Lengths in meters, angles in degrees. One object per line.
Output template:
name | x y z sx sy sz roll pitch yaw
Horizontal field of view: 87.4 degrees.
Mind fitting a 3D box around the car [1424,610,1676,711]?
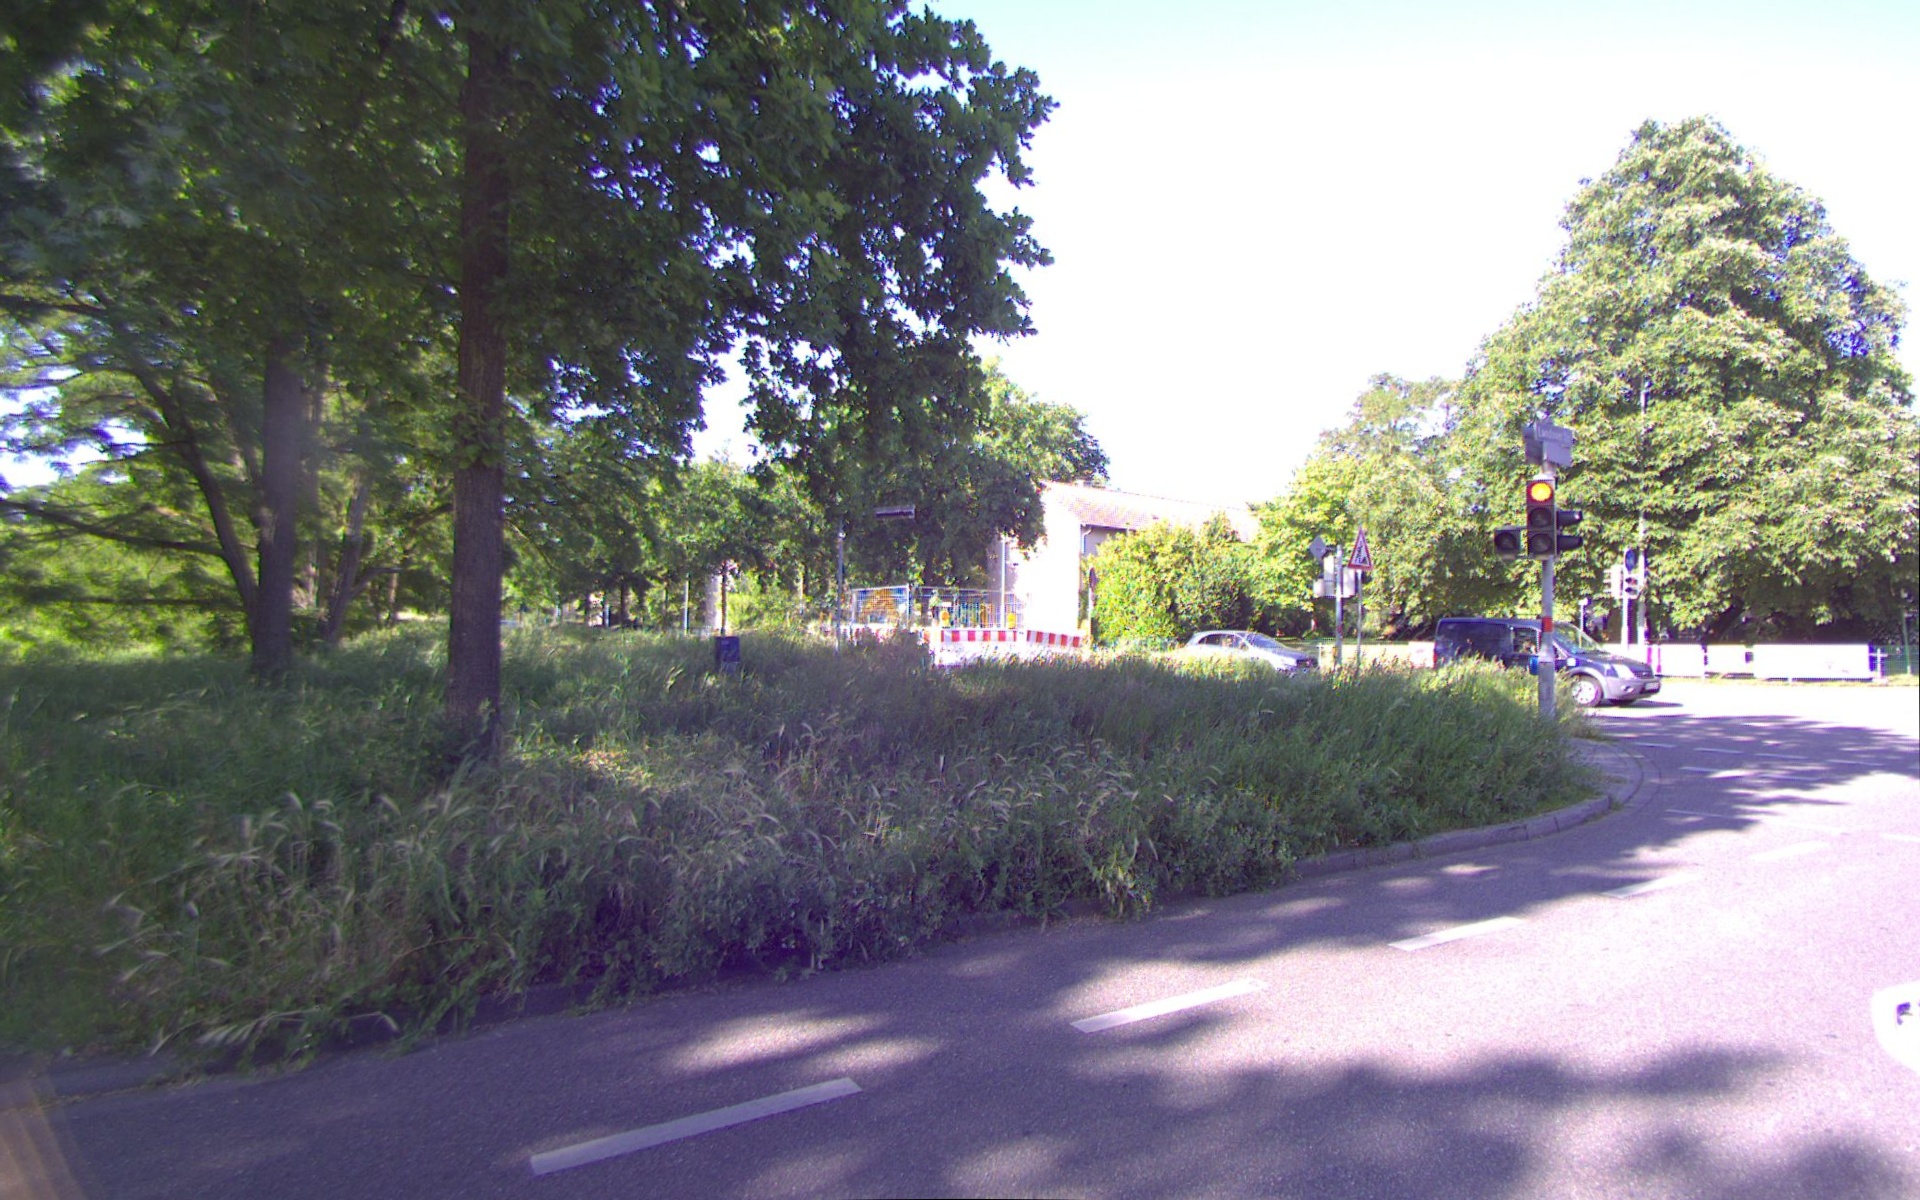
car | 12.465 1.205 21.503 1.840 1.912 4.319 1 -1 -33

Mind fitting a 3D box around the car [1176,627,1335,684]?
car | 8.412 1.553 28.946 1.892 1.508 4.261 1 -2 -31

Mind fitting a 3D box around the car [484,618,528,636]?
car | -47.224 2.840 104.583 3.939 1.673 1.991 2 0 -20
